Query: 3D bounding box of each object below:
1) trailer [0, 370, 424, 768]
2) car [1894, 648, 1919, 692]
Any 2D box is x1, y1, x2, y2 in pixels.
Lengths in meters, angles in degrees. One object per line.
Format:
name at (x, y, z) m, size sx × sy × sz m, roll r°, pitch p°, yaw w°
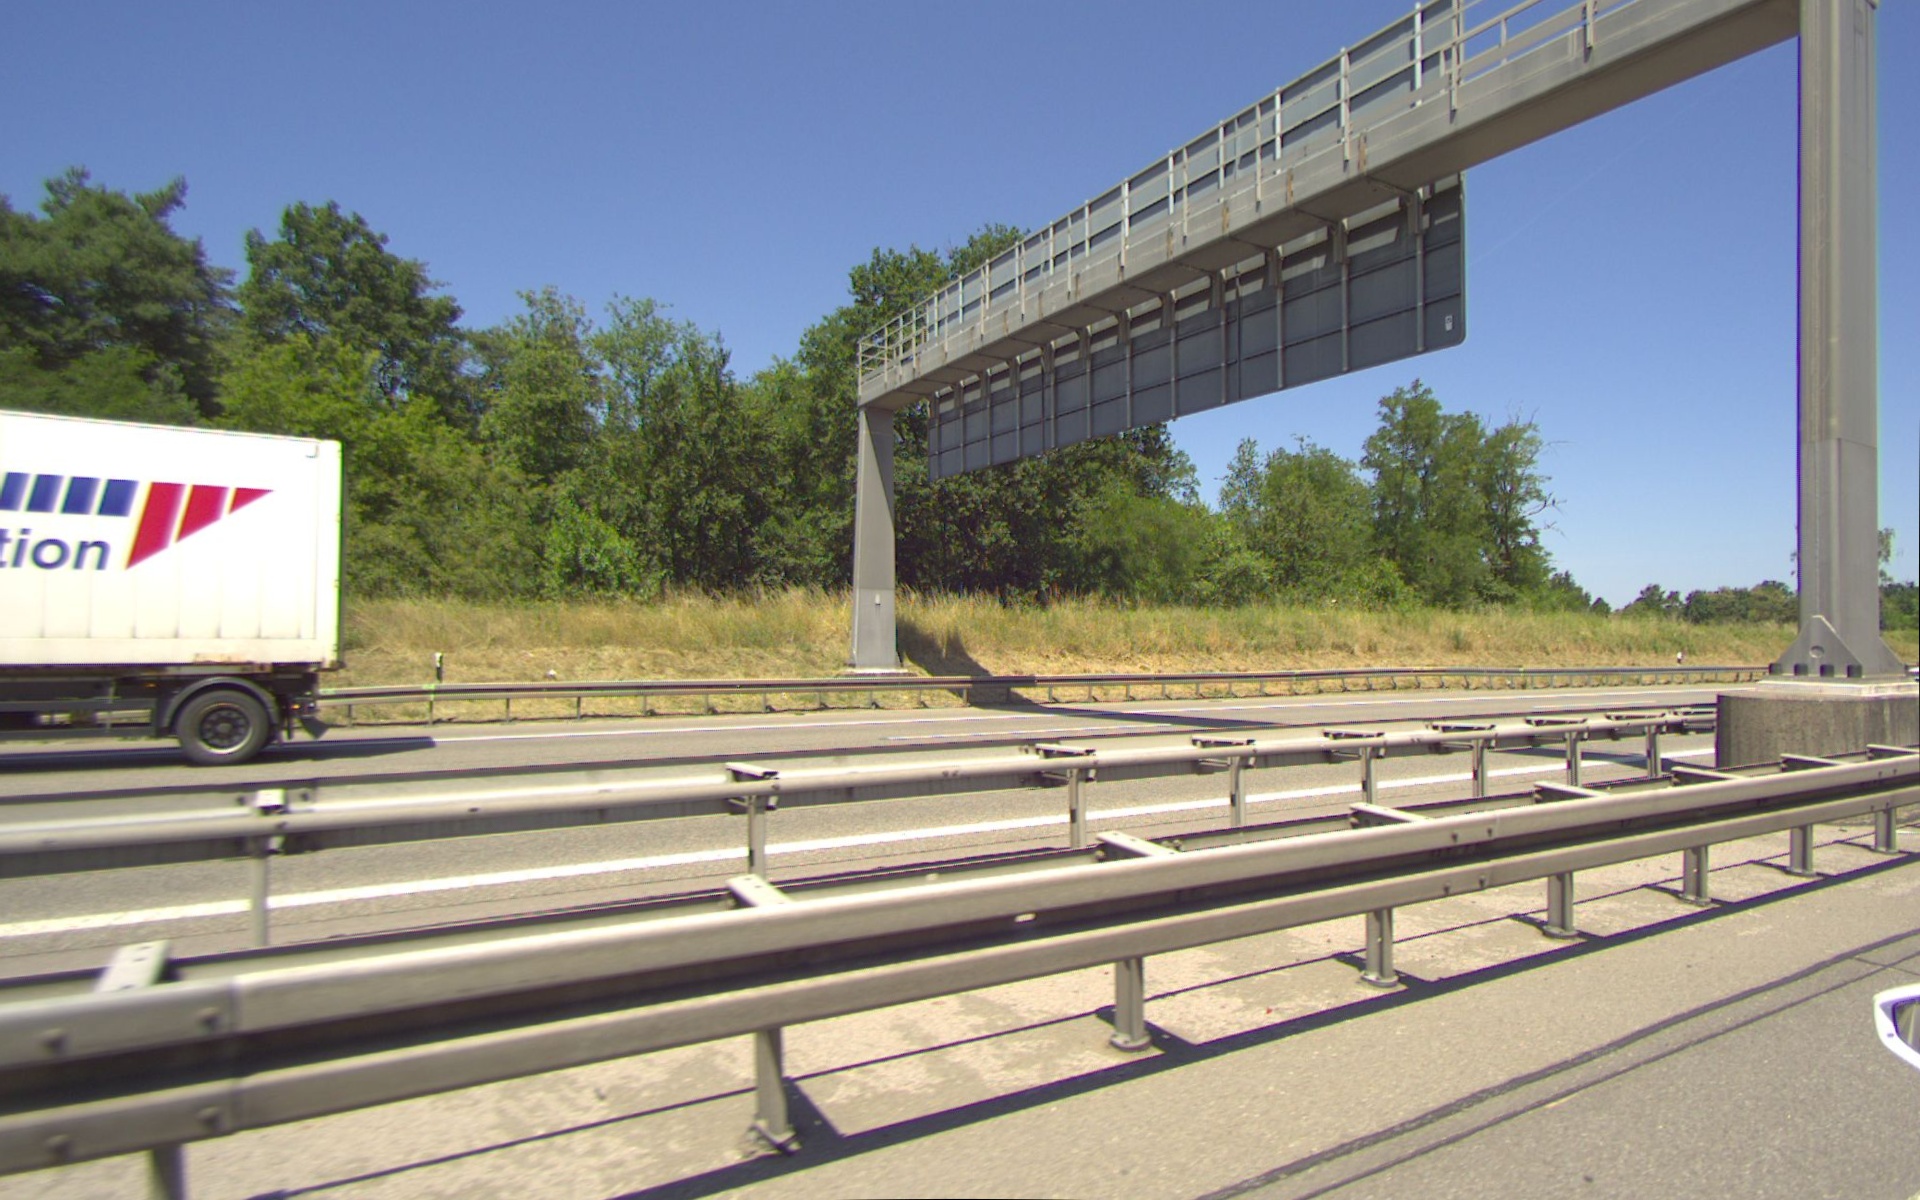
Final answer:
trailer at (-11.409, -0.307, 12.155) m, size 8.534 × 4.339 × 3.044 m, roll 2°, pitch -2°, yaw -30°
car at (33.060, 2.303, 33.301) m, size 4.426 × 1.414 × 1.799 m, roll 2°, pitch -3°, yaw -29°
